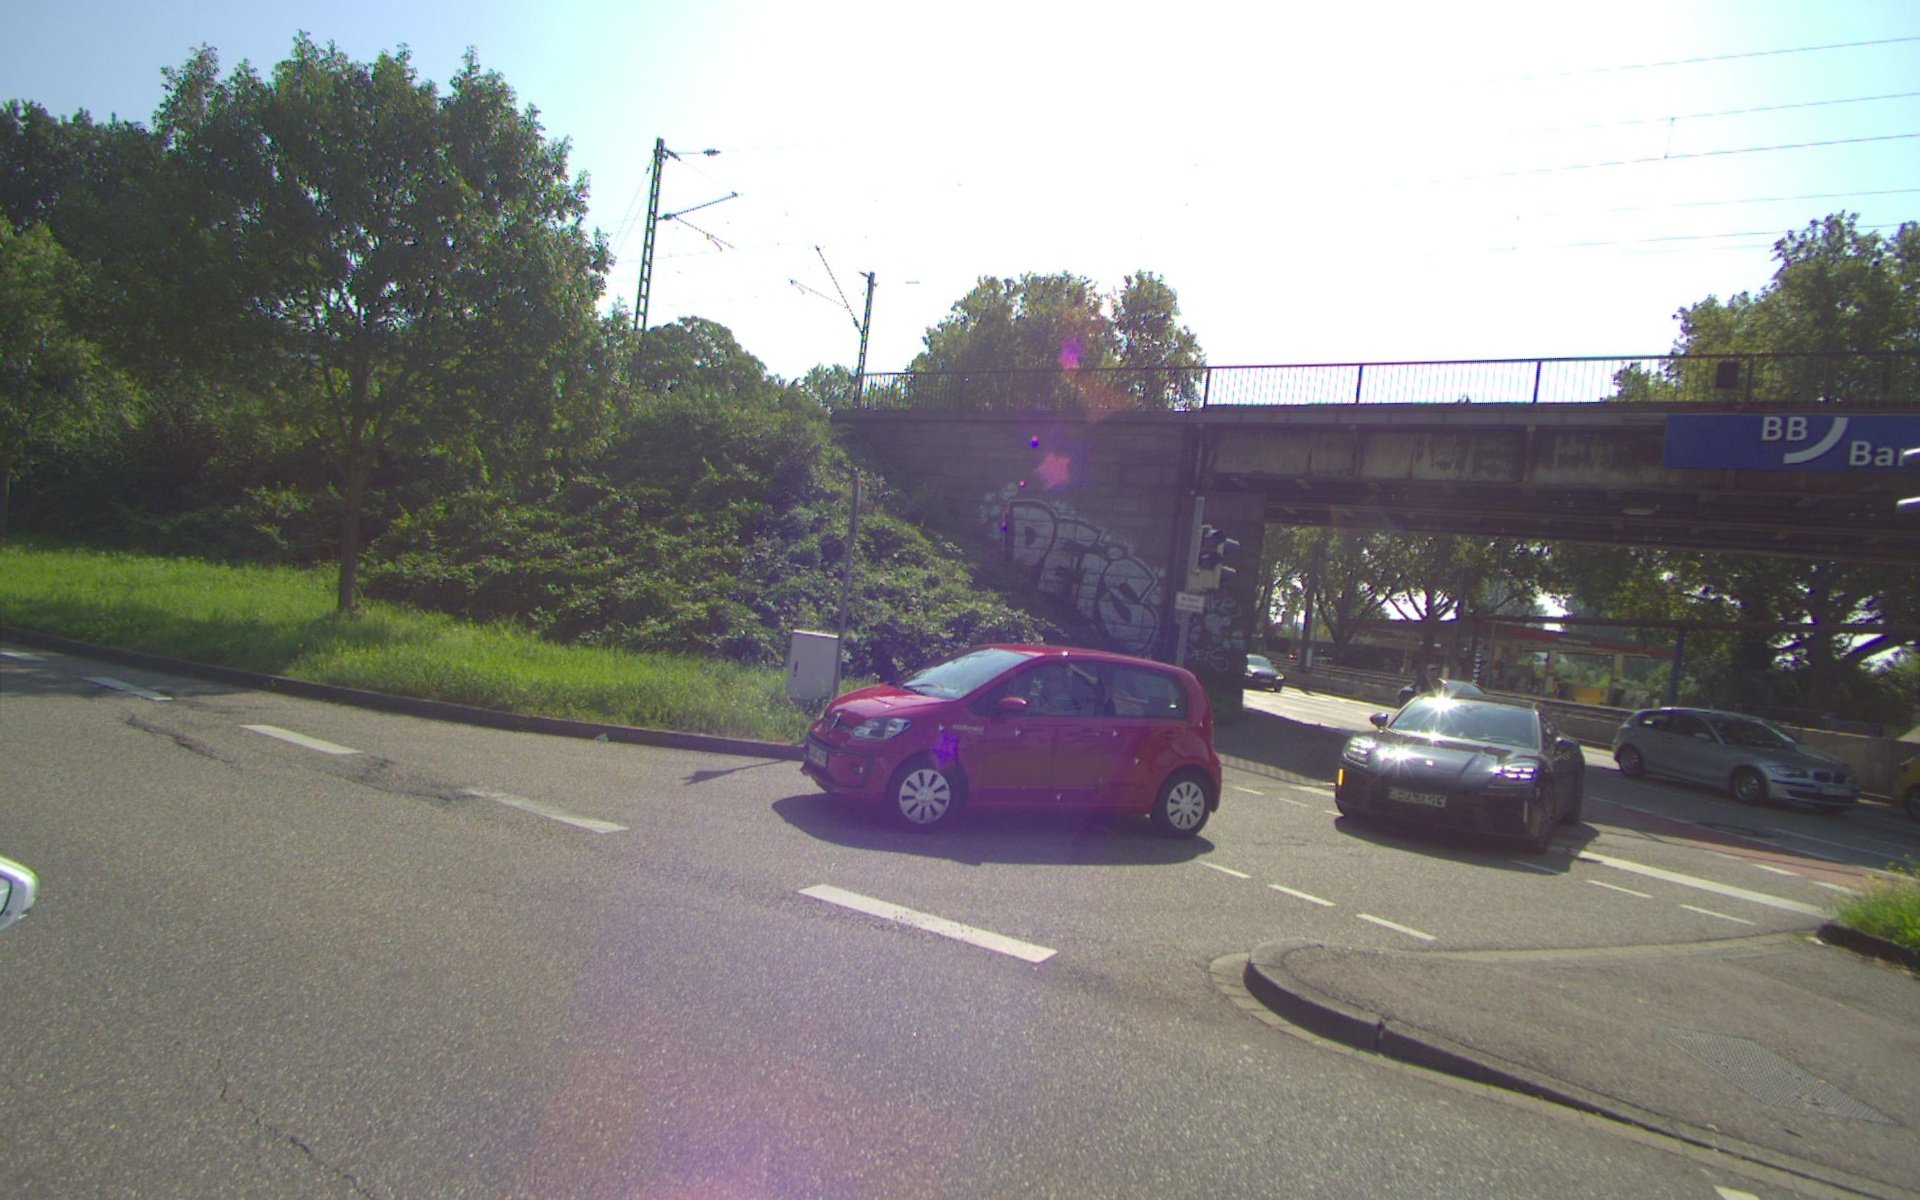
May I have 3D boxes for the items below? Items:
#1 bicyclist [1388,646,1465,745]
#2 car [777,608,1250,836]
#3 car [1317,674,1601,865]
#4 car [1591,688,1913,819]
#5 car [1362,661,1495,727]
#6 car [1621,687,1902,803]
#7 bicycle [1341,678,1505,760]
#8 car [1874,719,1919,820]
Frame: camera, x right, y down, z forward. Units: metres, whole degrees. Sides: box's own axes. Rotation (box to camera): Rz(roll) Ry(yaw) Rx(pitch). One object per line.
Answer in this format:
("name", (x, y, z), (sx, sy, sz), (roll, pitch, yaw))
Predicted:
("bicyclist", (8.707, 1.769, 18.802), (0.701, 1.678, 0.968), (7, 0, -10))
("car", (0.468, 1.015, 8.416), (3.511, 1.485, 1.632), (6, 0, -28))
("car", (5.844, 1.713, 11.397), (1.970, 1.481, 4.870), (4, -2, 37))
("car", (14.064, 2.660, 18.269), (1.965, 1.541, 4.340), (5, 0, -8))
("car", (15.348, 3.039, 33.226), (1.826, 1.501, 4.180), (8, 0, -8))
("car", (16.699, 2.962, 21.313), (1.966, 1.488, 4.338), (8, 1, -8))
("bicycle", (8.559, 2.173, 18.842), (1.214, 1.062, 2.973), (7, -1, -10))
("car", (17.259, 3.060, 15.462), (1.966, 1.593, 4.338), (8, 1, -8))
